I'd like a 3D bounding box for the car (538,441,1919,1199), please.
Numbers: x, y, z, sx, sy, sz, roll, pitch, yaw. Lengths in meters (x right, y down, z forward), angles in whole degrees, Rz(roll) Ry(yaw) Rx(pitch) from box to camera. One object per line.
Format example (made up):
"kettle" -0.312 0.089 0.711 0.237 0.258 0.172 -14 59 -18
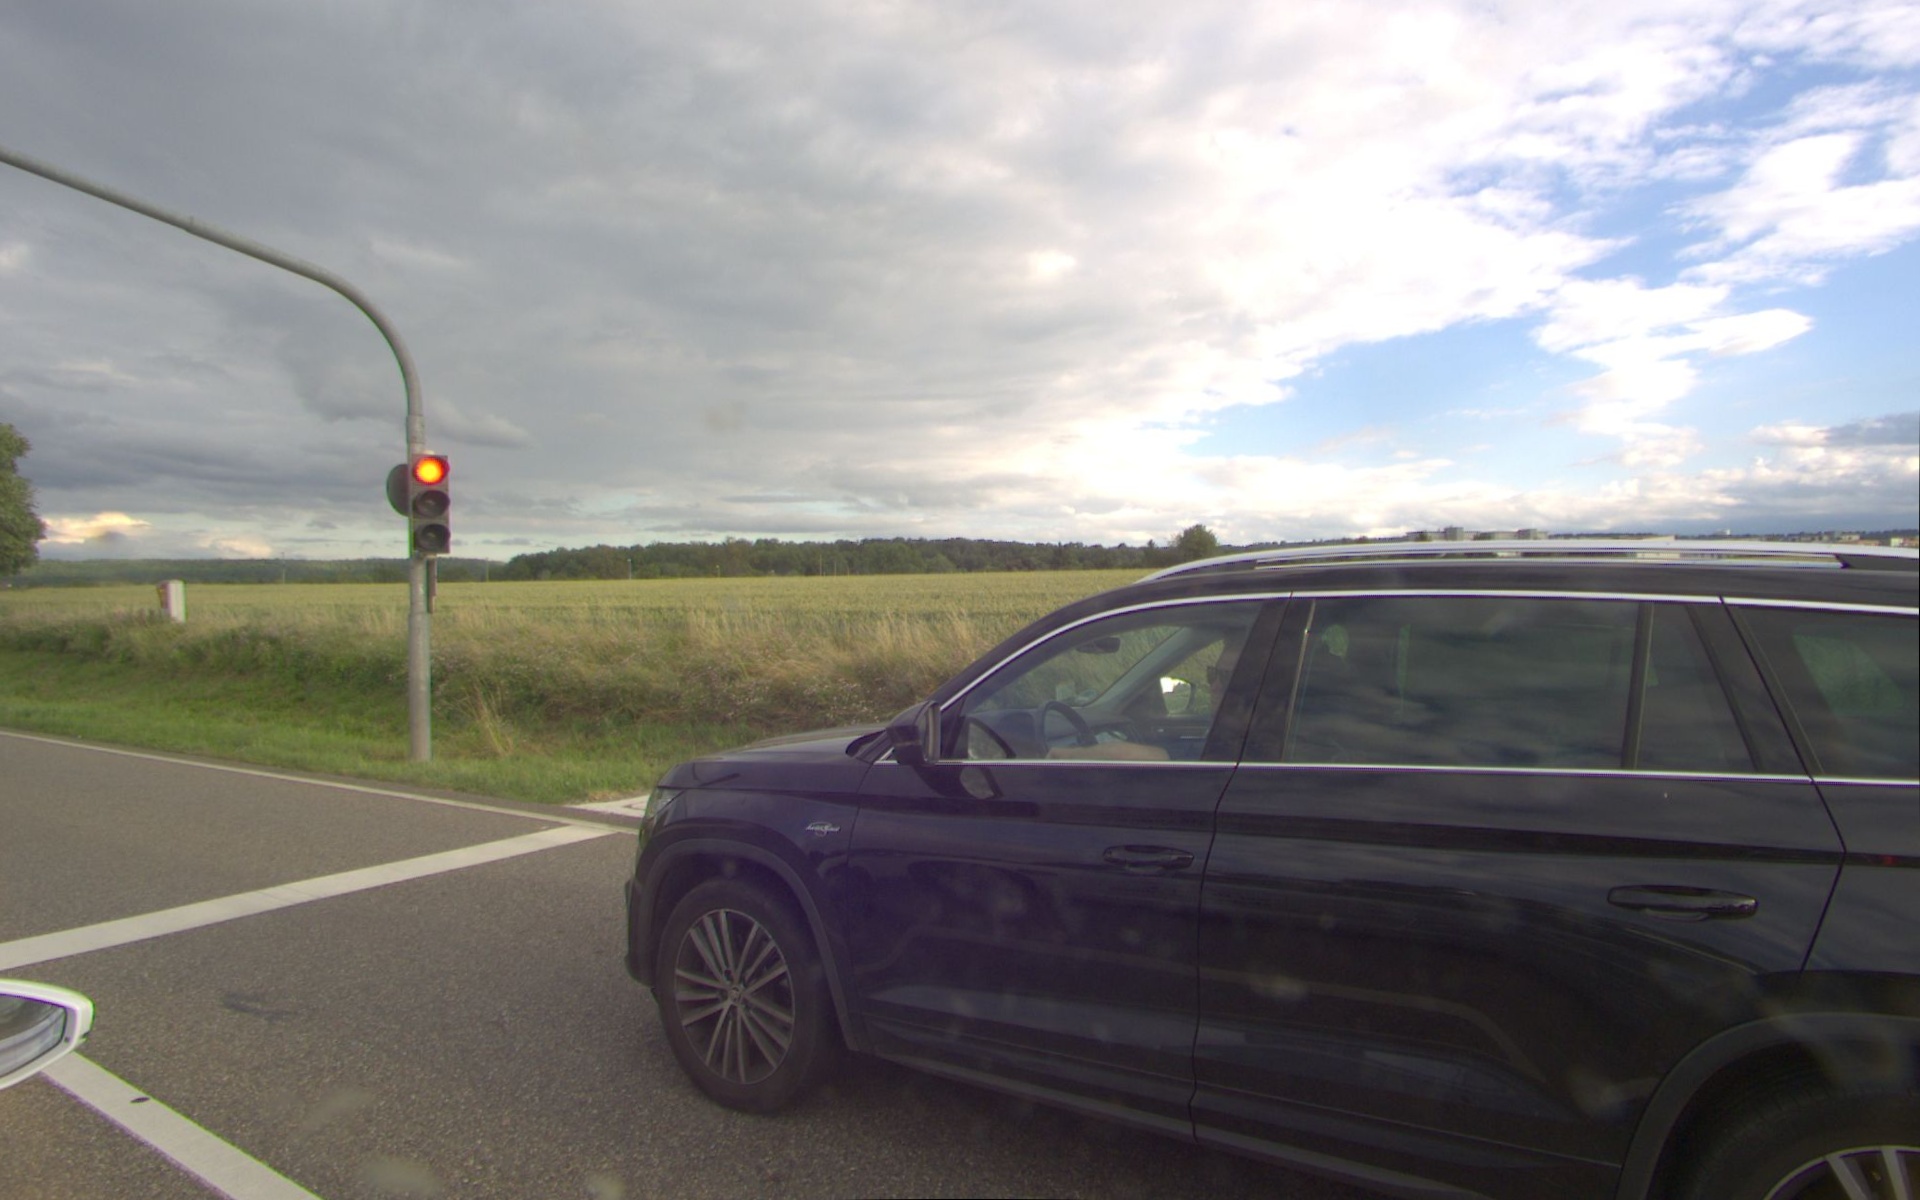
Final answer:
"car" 0.900 0.671 3.081 4.492 1.730 1.833 -1 -2 32
